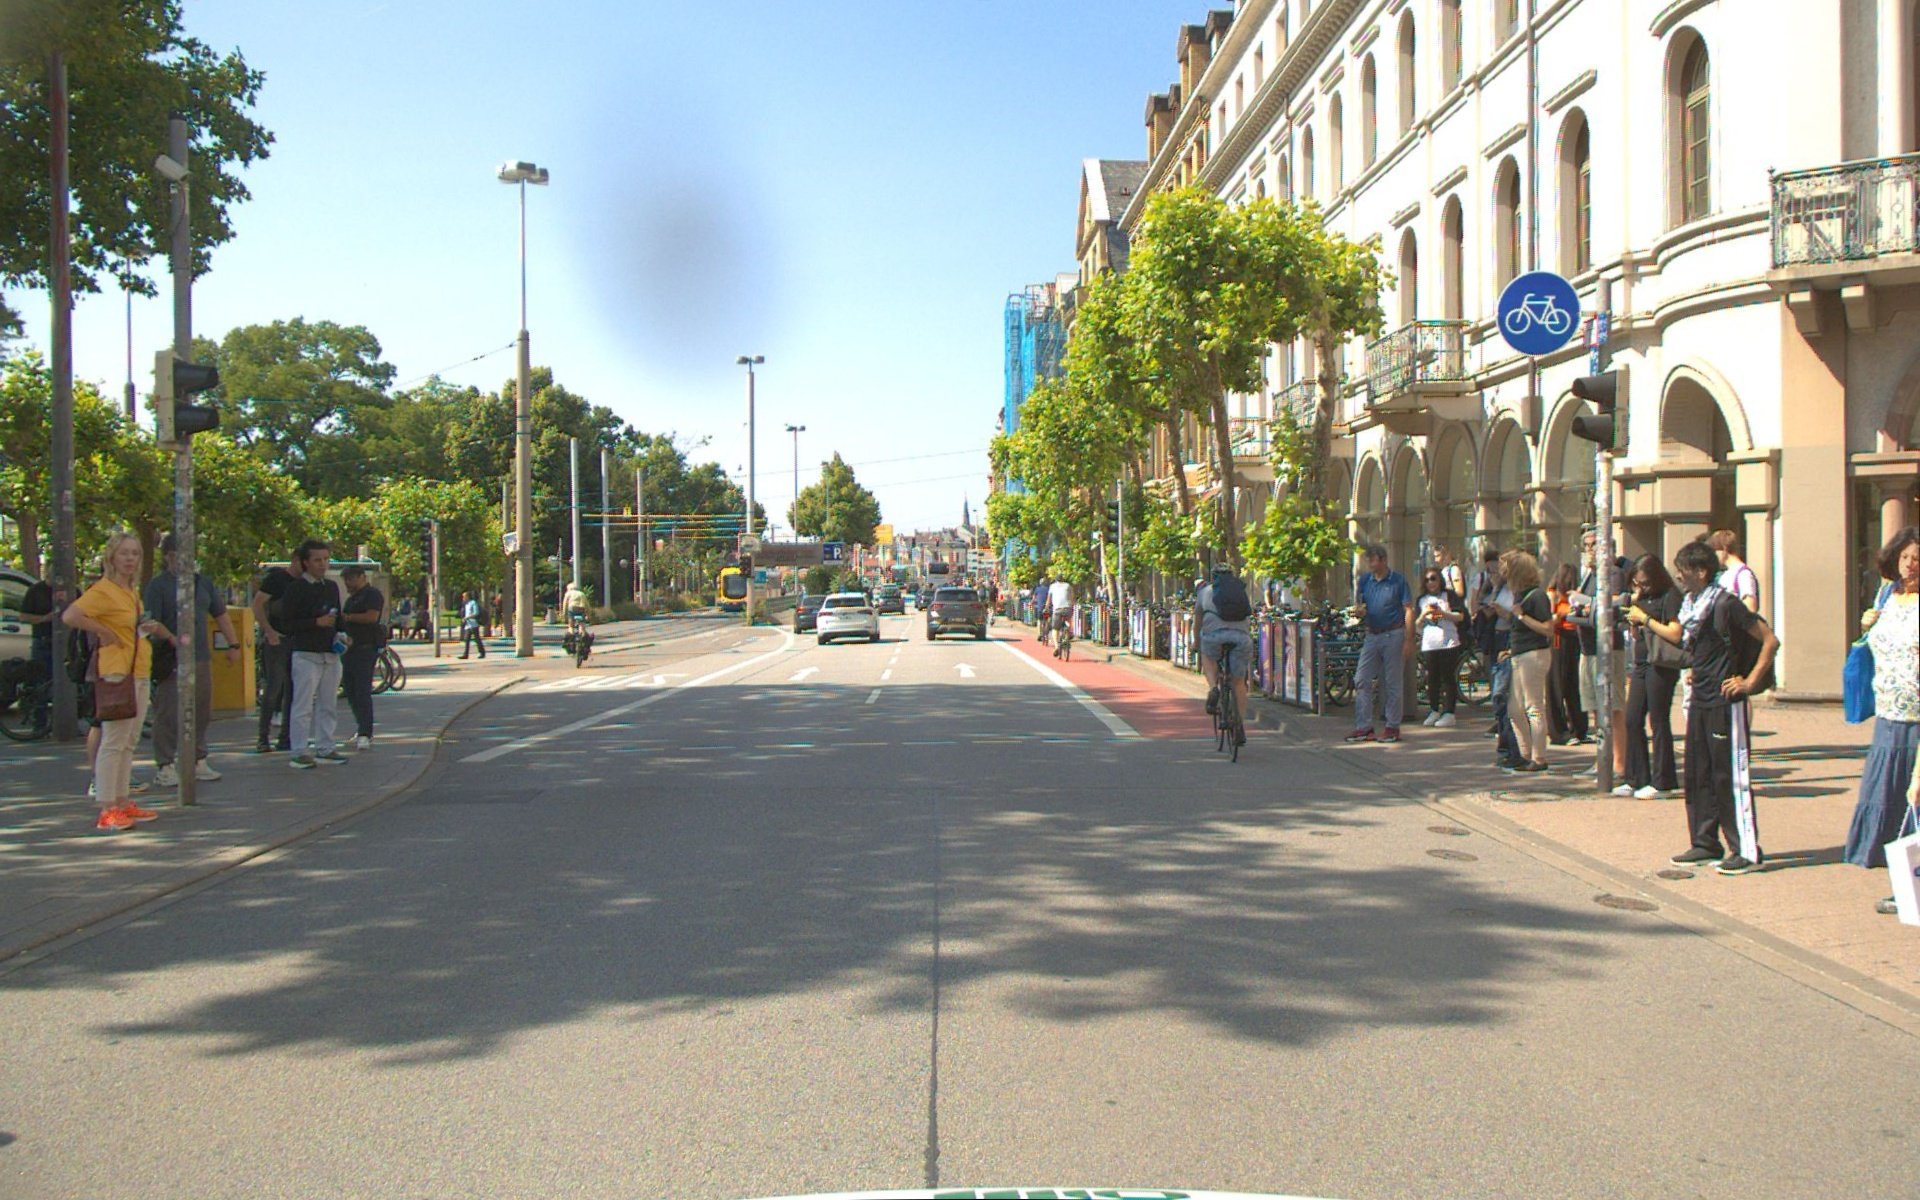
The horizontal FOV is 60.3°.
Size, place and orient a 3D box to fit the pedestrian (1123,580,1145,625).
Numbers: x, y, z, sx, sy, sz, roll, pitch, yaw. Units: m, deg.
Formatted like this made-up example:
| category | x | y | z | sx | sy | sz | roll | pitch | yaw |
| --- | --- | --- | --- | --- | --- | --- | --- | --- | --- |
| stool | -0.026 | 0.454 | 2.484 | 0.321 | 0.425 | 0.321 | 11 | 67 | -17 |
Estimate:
| category | x | y | z | sx | sy | sz | roll | pitch | yaw |
| --- | --- | --- | --- | --- | --- | --- | --- | --- | --- |
| pedestrian | 6.193 | 0.096 | 58.839 | 0.662 | 1.600 | 0.611 | -1 | 0 | -3 |

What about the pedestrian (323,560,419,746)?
| category | x | y | z | sx | sy | sz | roll | pitch | yaw |
| --- | --- | --- | --- | --- | --- | --- | --- | --- | --- |
| pedestrian | -5.502 | 0.483 | 15.457 | 0.605 | 1.697 | 0.591 | 0 | 0 | 28 |

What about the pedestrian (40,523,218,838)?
| category | x | y | z | sx | sy | sz | roll | pitch | yaw |
| --- | --- | --- | --- | --- | --- | --- | --- | --- | --- |
| pedestrian | -5.039 | 0.465 | 10.053 | 0.619 | 1.825 | 0.731 | 0 | 0 | 20 |

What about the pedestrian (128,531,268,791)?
| category | x | y | z | sx | sy | sz | roll | pitch | yaw |
| --- | --- | --- | --- | --- | --- | --- | --- | --- | --- |
| pedestrian | -5.751 | 0.442 | 12.502 | 0.620 | 1.891 | 0.730 | 0 | 0 | 28 |

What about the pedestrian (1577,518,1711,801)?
| category | x | y | z | sx | sy | sz | roll | pitch | yaw |
| --- | --- | --- | --- | --- | --- | --- | --- | --- | --- |
| pedestrian | 4.631 | 0.389 | 11.230 | 0.598 | 1.855 | 0.677 | 0 | 0 | -3 |

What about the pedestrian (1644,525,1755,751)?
| category | x | y | z | sx | sy | sz | roll | pitch | yaw |
| --- | --- | --- | --- | --- | --- | --- | --- | --- | --- |
| pedestrian | 6.177 | 0.303 | 13.840 | 0.598 | 1.838 | 0.677 | 0 | 0 | -3 |

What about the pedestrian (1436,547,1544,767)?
| category | x | y | z | sx | sy | sz | roll | pitch | yaw |
| --- | --- | --- | --- | --- | --- | --- | --- | --- | --- |
| pedestrian | 4.346 | 0.457 | 13.579 | 0.571 | 1.729 | 0.605 | -4 | 0 | -3 |

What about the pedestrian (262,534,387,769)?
| category | x | y | z | sx | sy | sz | roll | pitch | yaw |
| --- | --- | --- | --- | --- | --- | --- | --- | --- | --- |
| pedestrian | -5.231 | 0.408 | 13.631 | 0.620 | 1.866 | 0.730 | 0 | 0 | 28 |

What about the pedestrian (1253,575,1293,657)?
| category | x | y | z | sx | sy | sz | roll | pitch | yaw |
| --- | --- | --- | --- | --- | --- | --- | --- | --- | --- |
| pedestrian | 6.213 | 0.315 | 32.848 | 0.662 | 1.600 | 0.611 | -1 | 0 | -3 |

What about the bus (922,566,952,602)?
| category | x | y | z | sx | sy | sz | roll | pitch | yaw |
| --- | --- | --- | --- | --- | --- | --- | --- | --- | --- |
| bus | -2.437 | -1.655 | 172.901 | 2.934 | 3.656 | 11.741 | 0 | 0 | -2 |

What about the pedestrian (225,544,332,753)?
| category | x | y | z | sx | sy | sz | roll | pitch | yaw |
| --- | --- | --- | --- | --- | --- | --- | --- | --- | --- |
| pedestrian | -6.227 | 0.425 | 15.124 | 0.605 | 1.855 | 0.663 | 0 | 0 | 28 |

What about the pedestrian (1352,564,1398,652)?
| category | x | y | z | sx | sy | sz | roll | pitch | yaw |
| --- | --- | --- | --- | --- | --- | --- | --- | --- | --- |
| pedestrian | 7.690 | 0.145 | 30.644 | 0.662 | 1.600 | 0.611 | -1 | 0 | -3 |

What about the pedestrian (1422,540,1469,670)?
| category | x | y | z | sx | sy | sz | roll | pitch | yaw |
| --- | --- | --- | --- | --- | --- | --- | --- | --- | --- |
| pedestrian | 6.943 | 0.067 | 23.664 | 0.467 | 1.823 | 0.612 | -1 | 0 | -1 |

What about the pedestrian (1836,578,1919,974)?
| category | x | y | z | sx | sy | sz | roll | pitch | yaw |
| --- | --- | --- | --- | --- | --- | --- | --- | --- | --- |
| pedestrian | 4.033 | 0.684 | 6.584 | 0.598 | 1.541 | 0.677 | -5 | 0 | -3 |

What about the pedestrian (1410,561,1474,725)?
| category | x | y | z | sx | sy | sz | roll | pitch | yaw |
| --- | --- | --- | --- | --- | --- | --- | --- | --- | --- |
| pedestrian | 4.947 | 0.431 | 16.971 | 0.519 | 1.622 | 0.611 | 0 | 3 | 25 |

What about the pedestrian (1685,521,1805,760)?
| category | x | y | z | sx | sy | sz | roll | pitch | yaw |
| --- | --- | --- | --- | --- | --- | --- | --- | --- | --- |
| pedestrian | 6.225 | 0.310 | 13.139 | 0.598 | 1.838 | 0.677 | 0 | 0 | -3 |

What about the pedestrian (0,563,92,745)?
| category | x | y | z | sx | sy | sz | roll | pitch | yaw |
| --- | --- | --- | --- | --- | --- | --- | --- | --- | --- |
| pedestrian | -9.390 | 0.528 | 16.793 | 0.665 | 1.795 | 0.765 | 0 | 0 | 28 |

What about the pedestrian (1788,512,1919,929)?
| category | x | y | z | sx | sy | sz | roll | pitch | yaw |
| --- | --- | --- | --- | --- | --- | --- | --- | --- | --- |
| pedestrian | 4.291 | 0.505 | 7.499 | 0.598 | 1.790 | 0.677 | -4 | 0 | -3 |

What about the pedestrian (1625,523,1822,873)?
| category | x | y | z | sx | sy | sz | roll | pitch | yaw |
| --- | --- | --- | --- | --- | --- | --- | --- | --- | --- |
| pedestrian | 4.102 | 0.505 | 8.923 | 0.598 | 1.769 | 0.677 | -5 | 0 | -3 |

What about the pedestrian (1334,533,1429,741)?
| category | x | y | z | sx | sy | sz | roll | pitch | yaw |
| --- | --- | --- | --- | --- | --- | --- | --- | --- | --- |
| pedestrian | 4.047 | 0.351 | 15.866 | 0.674 | 1.931 | 0.611 | -4 | 0 | 25 |

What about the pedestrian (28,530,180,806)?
| category | x | y | z | sx | sy | sz | roll | pitch | yaw |
| --- | --- | --- | --- | --- | --- | --- | --- | --- | --- |
| pedestrian | -6.089 | 0.461 | 11.780 | 0.620 | 1.891 | 0.730 | 0 | 0 | 28 |

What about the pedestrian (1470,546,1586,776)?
| category | x | y | z | sx | sy | sz | roll | pitch | yaw |
| --- | --- | --- | --- | --- | --- | --- | --- | --- | --- |
| pedestrian | 4.394 | 0.460 | 12.827 | 0.571 | 1.702 | 0.605 | -4 | 0 | -3 |

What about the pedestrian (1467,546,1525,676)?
| category | x | y | z | sx | sy | sz | roll | pitch | yaw |
| --- | --- | --- | --- | --- | --- | --- | --- | --- | --- |
| pedestrian | 7.686 | 0.153 | 23.745 | 0.615 | 1.823 | 0.612 | -1 | 0 | -1 |

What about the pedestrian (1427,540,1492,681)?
| category | x | y | z | sx | sy | sz | roll | pitch | yaw |
| --- | --- | --- | --- | --- | --- | --- | --- | --- | --- |
| pedestrian | 6.590 | 0.130 | 21.842 | 0.662 | 1.823 | 0.612 | -1 | 0 | -1 |

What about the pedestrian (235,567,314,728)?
| category | x | y | z | sx | sy | sz | roll | pitch | yaw |
| --- | --- | --- | --- | --- | --- | --- | --- | --- | --- |
| pedestrian | -7.642 | 0.513 | 18.459 | 0.598 | 1.755 | 0.677 | 0 | 0 | -3 |

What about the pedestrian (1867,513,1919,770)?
| category | x | y | z | sx | sy | sz | roll | pitch | yaw |
| --- | --- | --- | --- | --- | --- | --- | --- | --- | --- |
| pedestrian | 7.227 | 0.296 | 12.279 | 0.598 | 1.855 | 0.677 | 0 | 0 | -3 |

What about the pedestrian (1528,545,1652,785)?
| category | x | y | z | sx | sy | sz | roll | pitch | yaw |
| --- | --- | --- | --- | --- | --- | --- | --- | --- | --- |
| pedestrian | 4.670 | 0.469 | 12.293 | 0.571 | 1.702 | 0.605 | -4 | 0 | -3 |

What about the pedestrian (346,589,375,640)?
| category | x | y | z | sx | sy | sz | roll | pitch | yaw |
| --- | --- | --- | --- | --- | --- | --- | --- | --- | --- |
| pedestrian | -20.629 | 0.488 | 56.907 | 0.695 | 1.736 | 0.656 | 0 | 0 | 14 |

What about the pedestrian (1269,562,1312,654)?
| category | x | y | z | sx | sy | sz | roll | pitch | yaw |
| --- | --- | --- | --- | --- | --- | --- | --- | --- | --- |
| pedestrian | 6.170 | 0.141 | 30.903 | 0.662 | 1.694 | 0.611 | -1 | 0 | -3 |

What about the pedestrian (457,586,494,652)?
| category | x | y | z | sx | sy | sz | roll | pitch | yaw |
| --- | --- | --- | --- | --- | --- | --- | --- | --- | --- |
| pedestrian | -12.309 | 0.477 | 42.051 | 0.755 | 1.657 | 0.612 | 0 | 0 | -2 |

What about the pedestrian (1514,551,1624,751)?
| category | x | y | z | sx | sy | sz | roll | pitch | yaw |
| --- | --- | --- | --- | --- | --- | --- | --- | --- | --- |
| pedestrian | 5.485 | 0.443 | 14.914 | 0.603 | 1.735 | 0.671 | -2 | 1 | -29 |

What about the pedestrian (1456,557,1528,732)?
| category | x | y | z | sx | sy | sz | roll | pitch | yaw |
| --- | --- | --- | --- | --- | --- | --- | --- | --- | --- |
| pedestrian | 5.104 | 0.421 | 15.860 | 0.519 | 1.623 | 0.611 | -3 | -1 | 25 |
